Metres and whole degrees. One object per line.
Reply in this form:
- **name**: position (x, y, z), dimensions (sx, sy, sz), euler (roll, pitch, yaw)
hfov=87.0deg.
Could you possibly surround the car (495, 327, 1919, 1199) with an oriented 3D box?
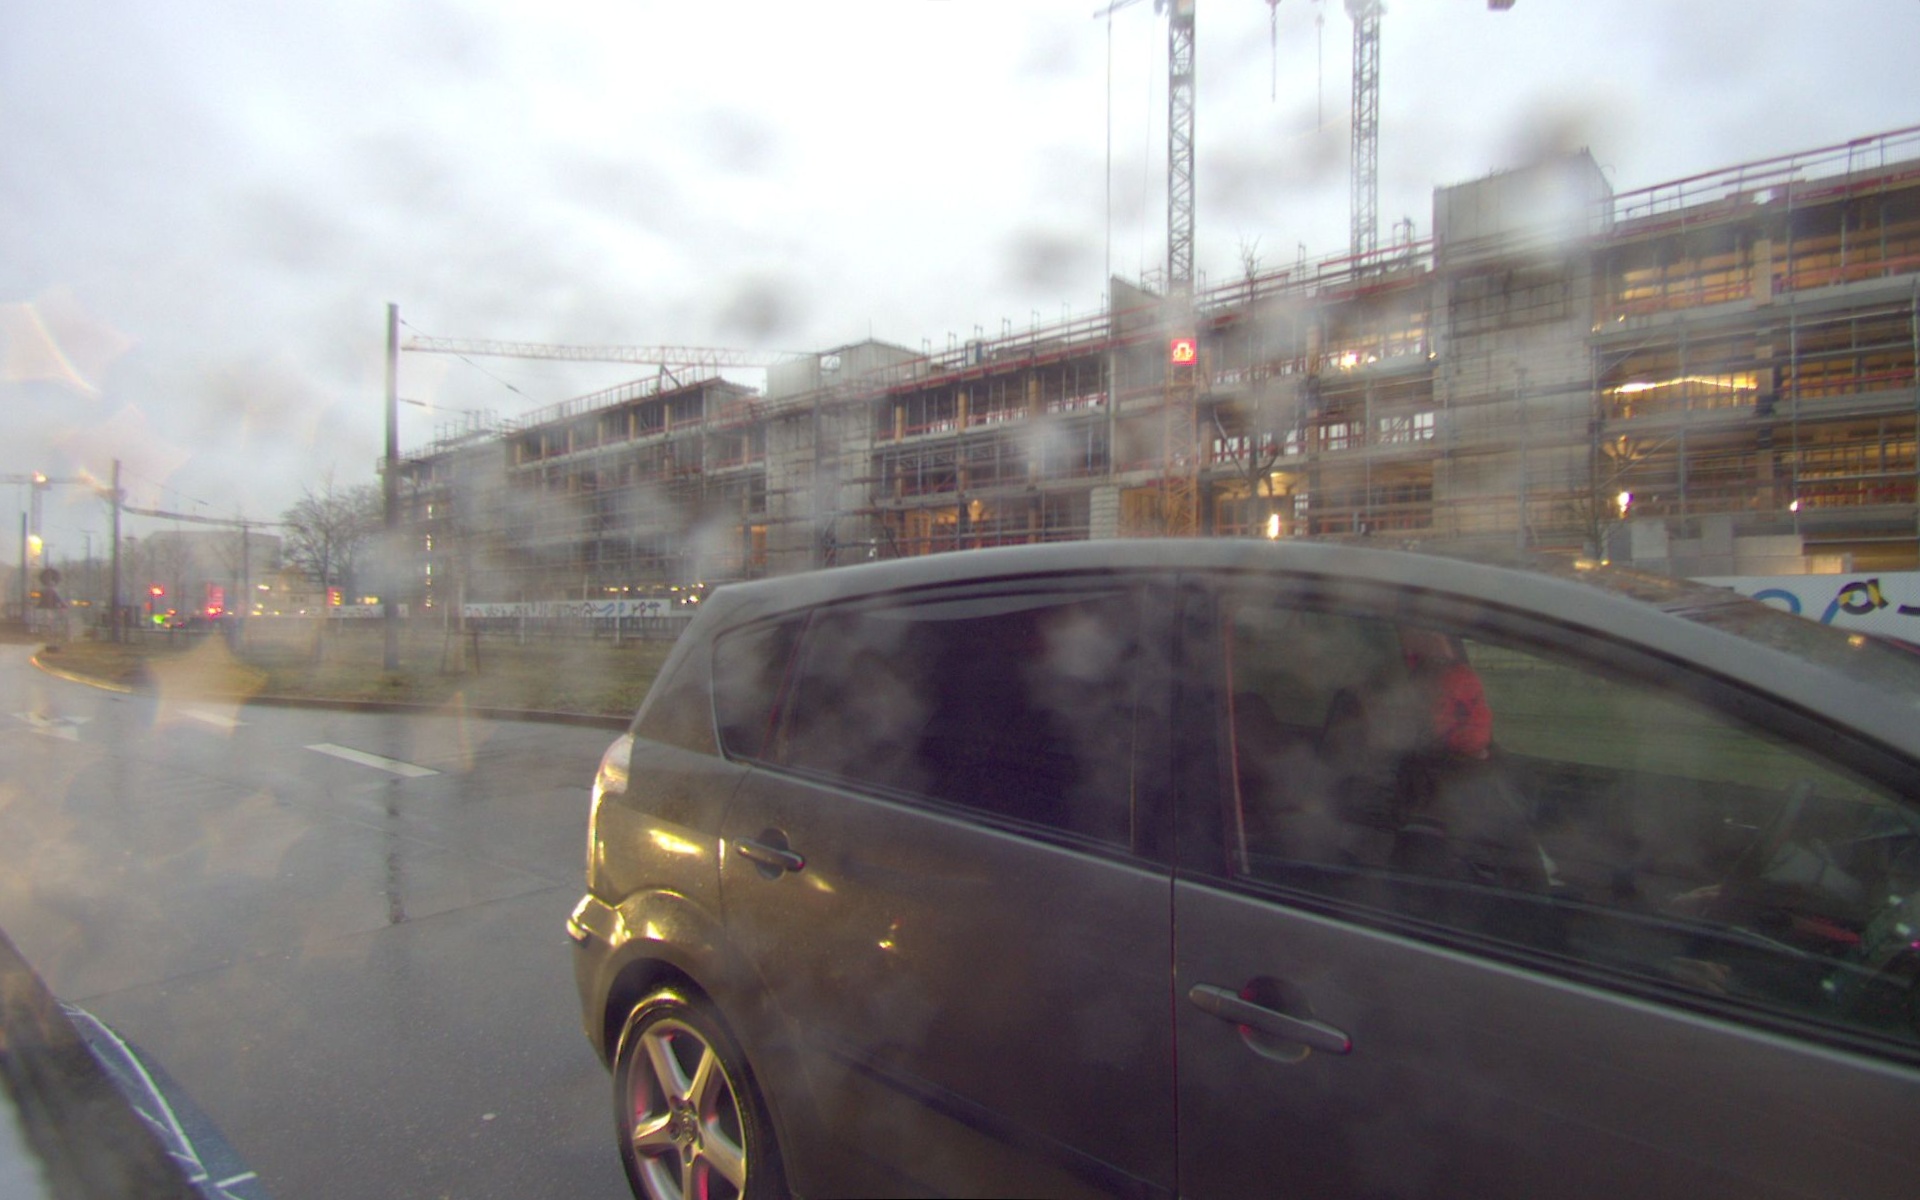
- **car**: position (1.002, 0.603, 1.898), dimensions (4.131, 1.659, 1.793), euler (-1, -1, 39)
